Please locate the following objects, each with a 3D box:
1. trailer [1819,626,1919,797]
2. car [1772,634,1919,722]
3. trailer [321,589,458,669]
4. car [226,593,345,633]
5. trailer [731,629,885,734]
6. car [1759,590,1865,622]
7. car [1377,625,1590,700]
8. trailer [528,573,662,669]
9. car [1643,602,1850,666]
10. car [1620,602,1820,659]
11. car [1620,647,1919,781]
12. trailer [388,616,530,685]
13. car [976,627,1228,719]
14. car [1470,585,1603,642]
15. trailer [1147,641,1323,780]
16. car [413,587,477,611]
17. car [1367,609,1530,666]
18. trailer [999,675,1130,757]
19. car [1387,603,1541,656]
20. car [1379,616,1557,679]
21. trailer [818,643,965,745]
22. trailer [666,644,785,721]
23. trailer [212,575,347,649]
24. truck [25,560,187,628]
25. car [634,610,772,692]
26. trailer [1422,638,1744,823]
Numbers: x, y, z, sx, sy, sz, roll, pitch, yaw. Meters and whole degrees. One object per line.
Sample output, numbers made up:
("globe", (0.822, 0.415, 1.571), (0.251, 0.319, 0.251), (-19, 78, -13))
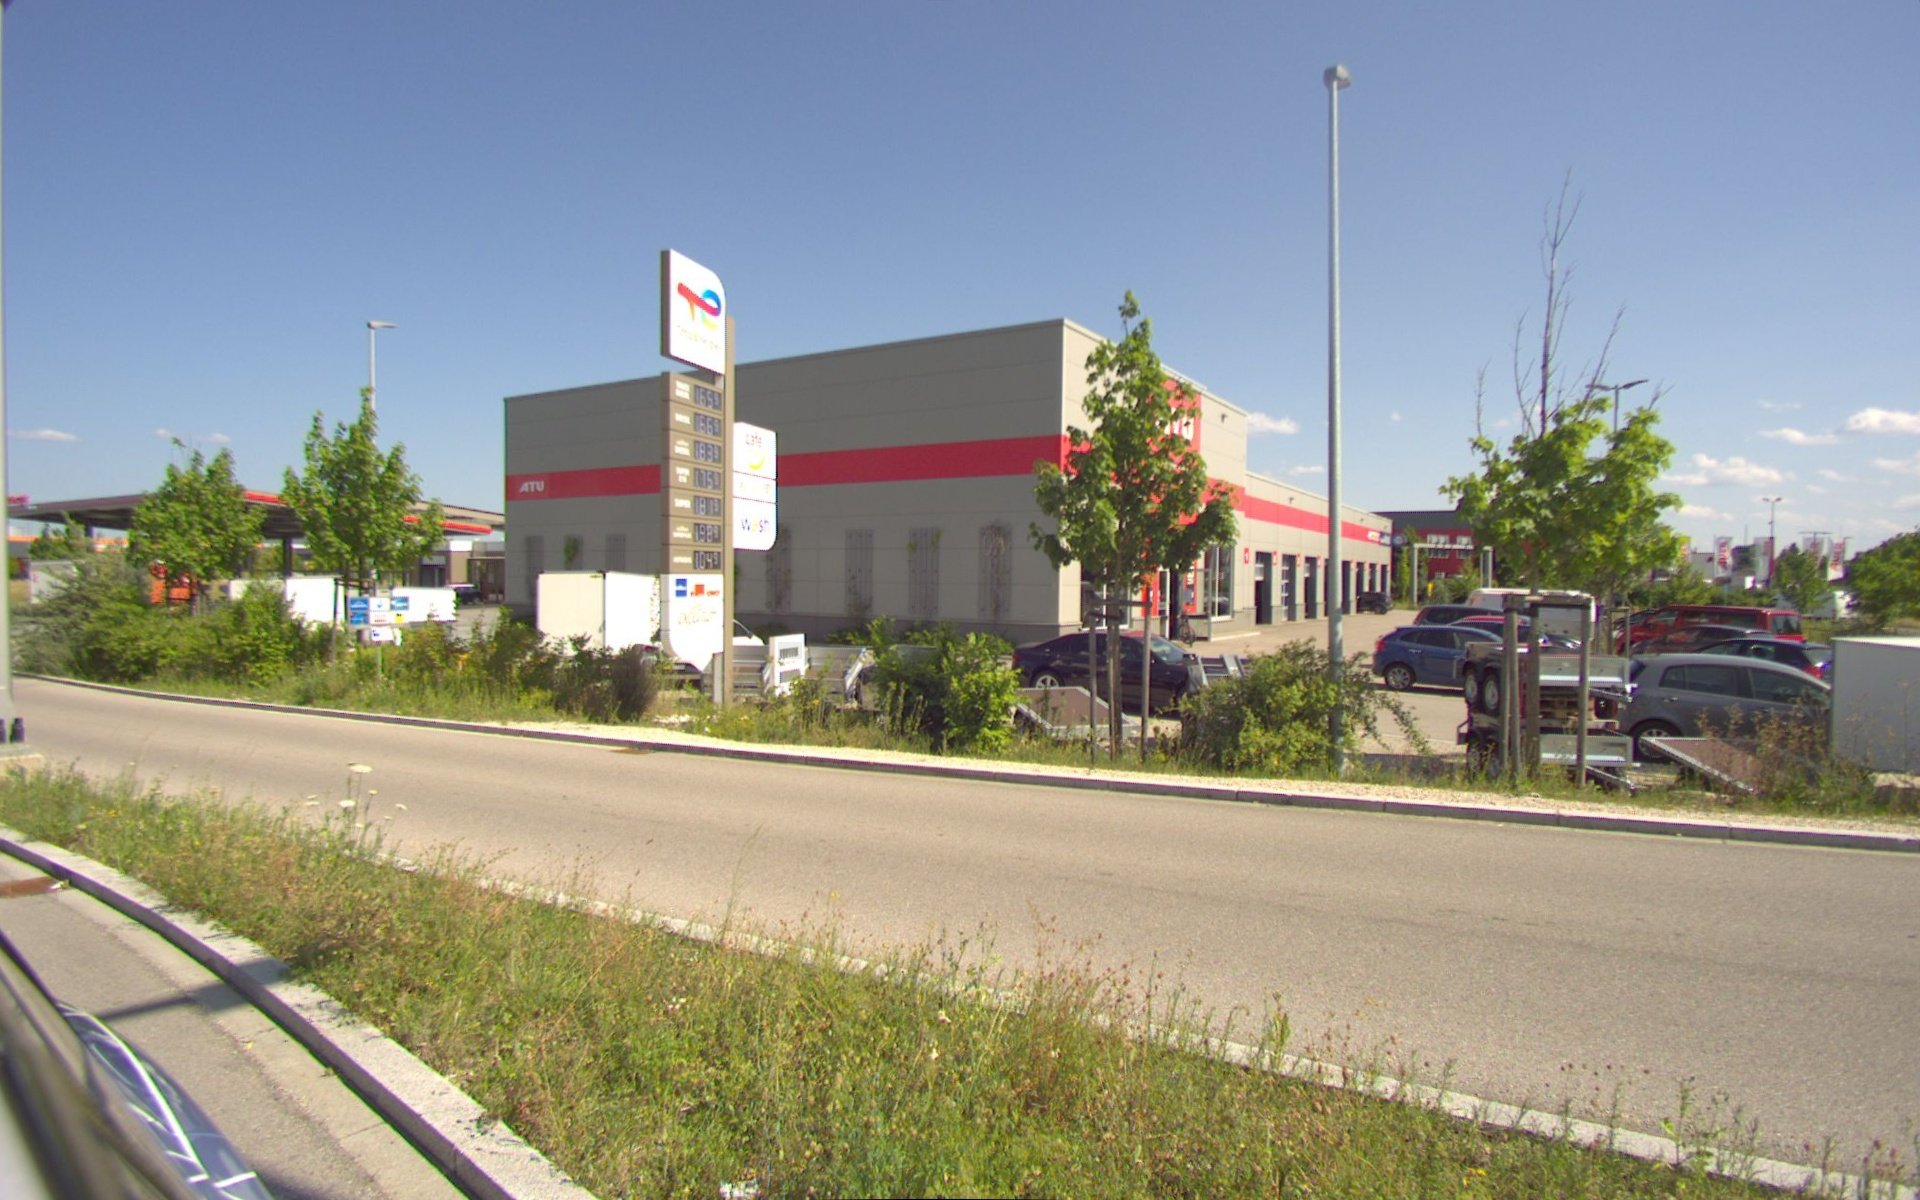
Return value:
("trailer", (11.555, 1.306, 10.712), (1.783, 1.785, 3.696), (-1, 2, 1))
("car", (18.594, 1.527, 19.639), (1.794, 1.475, 4.014), (1, 2, -24))
("trailer", (-15.354, 0.730, 27.396), (1.977, 2.029, 2.730), (-1, 1, 8))
("car", (-32.763, 0.607, 49.293), (1.789, 1.771, 4.474), (0, 1, 30))
("trailer", (-2.530, 1.322, 17.526), (1.534, 1.495, 3.177), (-1, 1, 14))
("car", (63.437, 0.383, 75.526), (2.007, 2.251, 6.286), (-1, 1, -8))
("car", (11.331, 1.293, 22.026), (3.985, 1.475, 1.806), (0, -2, 31))
("trailer", (-8.286, 0.426, 23.254), (1.725, 2.029, 3.236), (-1, 1, 4))
("car", (20.886, 0.840, 27.066), (1.794, 1.475, 4.013), (-1, 1, -23))
("car", (22.437, 0.850, 30.099), (1.794, 1.475, 4.470), (-1, 1, -23))
("car", (11.775, 1.551, 14.621), (3.733, 1.563, 1.724), (0, 1, 33))
("trailer", (-12.959, 1.261, 26.416), (1.581, 1.521, 3.592), (-1, 1, 8))
("car", (2.660, 1.314, 19.478), (4.488, 1.495, 1.782), (-1, 1, 36))
("car", (22.045, 0.493, 38.768), (4.334, 2.029, 1.883), (0, 1, 32))
("trailer", (3.995, 1.542, 15.290), (1.684, 1.462, 3.697), (-1, 4, 1))
("car", (-36.056, -0.072, 70.866), (1.695, 1.586, 3.636), (0, 1, 41))
("car", (14.039, 1.037, 29.145), (3.992, 1.475, 1.803), (0, 1, 36))
("trailer", (1.533, 1.747, 15.706), (1.842, 0.888, 2.835), (-1, 1, 3))
("car", (15.394, 0.861, 30.994), (3.992, 1.475, 1.803), (0, 1, 36))
("car", (13.445, 1.208, 26.848), (3.992, 1.475, 1.803), (0, 1, 36))
("trailer", (-1.038, 1.464, 16.585), (1.379, 1.332, 2.894), (-1, 1, 19))
("trailer", (-4.117, 1.425, 18.103), (1.304, 1.094, 2.772), (-1, 1, 5))
("trailer", (-20.060, 0.319, 29.993), (1.970, 2.029, 3.210), (-1, 1, -4))
("truck", (-44.876, -0.362, 53.512), (2.606, 3.343, 6.902), (-1, 1, 2))
("car", (-5.585, 1.047, 22.463), (1.698, 1.547, 3.993), (-1, 1, 6))
("trailer", (7.547, 1.475, 12.747), (1.783, 1.785, 3.696), (-1, 1, 1))
